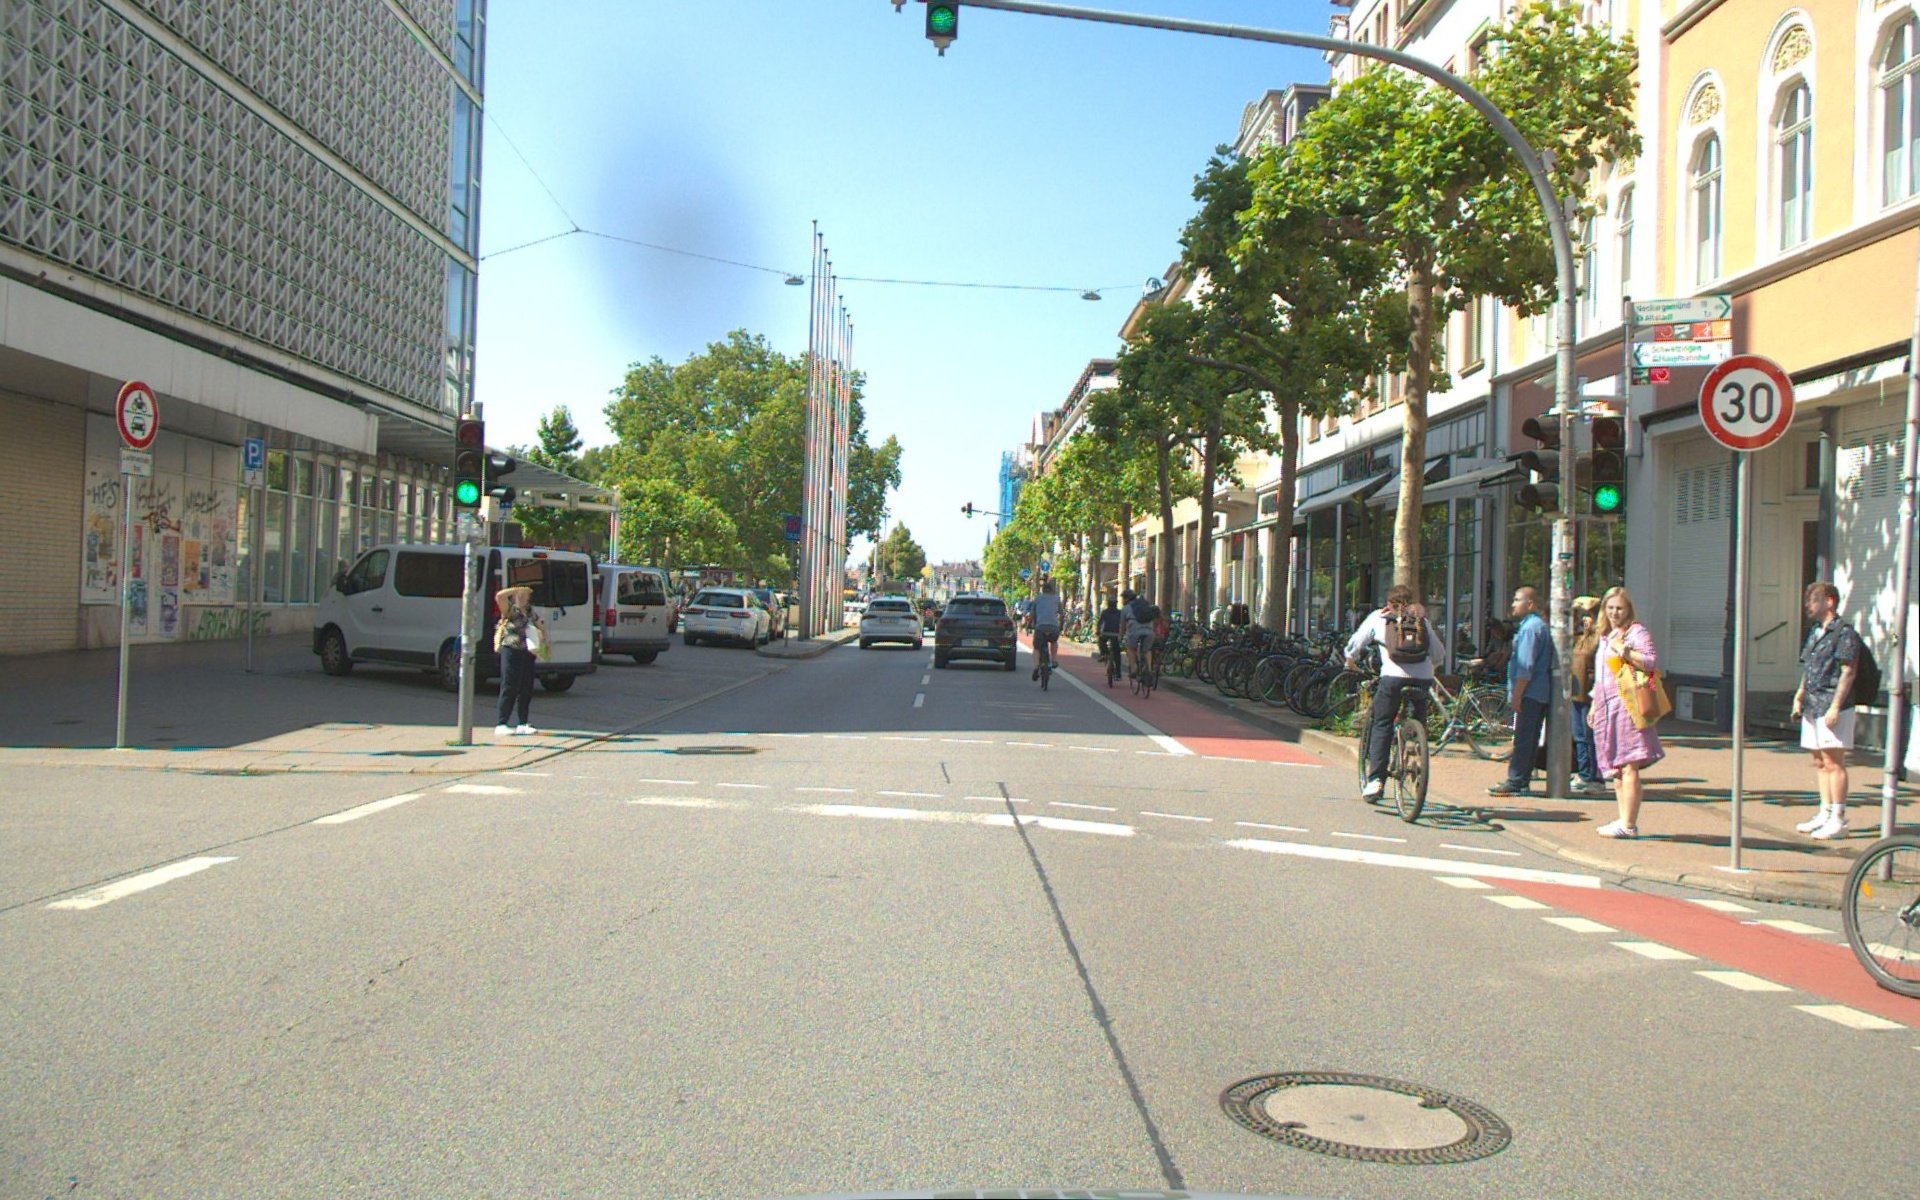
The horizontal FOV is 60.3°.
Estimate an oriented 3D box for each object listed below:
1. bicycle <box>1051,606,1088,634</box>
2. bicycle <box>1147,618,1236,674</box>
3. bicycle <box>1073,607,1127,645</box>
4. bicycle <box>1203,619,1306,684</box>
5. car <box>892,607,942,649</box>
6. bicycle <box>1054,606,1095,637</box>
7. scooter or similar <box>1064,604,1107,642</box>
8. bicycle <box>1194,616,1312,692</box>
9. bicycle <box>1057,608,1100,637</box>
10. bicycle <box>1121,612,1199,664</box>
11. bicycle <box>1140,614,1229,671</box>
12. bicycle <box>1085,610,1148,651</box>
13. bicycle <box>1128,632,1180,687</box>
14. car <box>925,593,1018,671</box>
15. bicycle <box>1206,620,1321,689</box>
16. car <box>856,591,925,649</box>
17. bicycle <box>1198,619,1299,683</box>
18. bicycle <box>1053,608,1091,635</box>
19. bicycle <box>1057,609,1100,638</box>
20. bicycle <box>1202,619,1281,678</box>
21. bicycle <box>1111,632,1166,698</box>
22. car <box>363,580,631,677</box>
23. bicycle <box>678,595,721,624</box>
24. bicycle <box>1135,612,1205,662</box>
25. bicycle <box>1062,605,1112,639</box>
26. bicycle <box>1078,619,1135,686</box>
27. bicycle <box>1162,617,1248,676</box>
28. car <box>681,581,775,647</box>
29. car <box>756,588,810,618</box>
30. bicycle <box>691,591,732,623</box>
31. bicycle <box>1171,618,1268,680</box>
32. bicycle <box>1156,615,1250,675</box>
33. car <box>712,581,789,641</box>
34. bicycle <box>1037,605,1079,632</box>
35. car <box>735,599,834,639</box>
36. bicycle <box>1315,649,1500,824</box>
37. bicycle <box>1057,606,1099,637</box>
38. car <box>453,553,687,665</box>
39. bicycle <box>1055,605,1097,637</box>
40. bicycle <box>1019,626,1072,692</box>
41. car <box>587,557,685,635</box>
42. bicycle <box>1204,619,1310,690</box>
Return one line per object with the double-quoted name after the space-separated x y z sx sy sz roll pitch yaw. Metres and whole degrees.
4.942 0.907 74.753 1.615 1.222 0.474 2 0 2 "bicycle"
5.095 1.011 36.372 1.807 1.112 0.563 3 -1 -11 "bicycle"
4.918 0.910 58.179 1.801 1.206 0.670 3 -1 4 "bicycle"
5.426 0.947 30.519 1.802 1.147 0.448 1 -1 2 "bicycle"
-1.610 1.032 62.566 1.808 1.474 3.999 1 0 -1 "car"
4.807 0.886 69.530 1.692 1.238 0.477 2 0 2 "bicycle"
4.571 0.837 60.363 1.443 1.296 0.670 3 -1 11 "scooter or similar"
4.873 0.888 27.571 1.802 1.146 0.680 3 0 2 "bicycle"
4.870 0.933 68.025 1.692 1.128 0.402 2 0 2 "bicycle"
5.001 0.955 41.325 1.806 1.146 0.496 4 1 -9 "bicycle"
4.996 0.946 36.871 1.807 1.146 0.631 4 -1 -11 "bicycle"
4.769 0.932 50.414 1.801 1.146 0.498 3 -1 11 "bicycle"
3.567 1.086 30.509 0.588 0.942 2.086 0 0 -4 "bicycle"
0.199 0.656 36.117 1.809 1.587 3.998 1 0 -3 "car"
5.325 0.953 29.003 1.943 1.147 0.762 1 -1 12 "bicycle"
-1.962 0.547 47.558 1.808 1.587 4.000 1 0 0 "car"
5.404 0.948 30.978 1.802 1.147 0.448 1 -1 2 "bicycle"
4.956 0.959 73.230 1.615 1.114 0.607 2 0 2 "bicycle"
4.901 0.952 68.444 1.692 1.128 0.477 2 0 2 "bicycle"
5.673 0.985 33.259 1.827 1.147 0.442 2 -2 -38 "bicycle"
2.942 1.057 27.422 0.617 0.997 2.088 2 0 -1 "bicycle"
-7.846 0.469 27.942 4.207 1.309 1.966 4 0 31 "car"
-11.286 0.410 71.585 1.746 1.152 0.562 2 0 -4 "bicycle"
5.458 0.959 42.996 1.754 1.218 0.572 3 -1 -28 "bicycle"
4.996 0.863 65.279 1.891 1.270 0.736 2 0 2 "bicycle"
2.706 0.962 30.722 0.684 1.146 2.080 3 0 -4 "bicycle"
4.941 0.938 33.302 1.826 1.147 0.586 2 -2 -37 "bicycle"
-6.012 0.337 43.323 1.762 1.549 4.738 3 0 0 "car"
-12.428 0.229 116.444 1.821 1.989 4.761 2 -1 20 "car"
-11.174 0.315 74.379 1.746 1.331 0.662 2 0 -4 "bicycle"
5.064 0.950 32.274 1.804 1.147 0.447 1 -2 28 "bicycle"
5.238 0.969 35.633 1.808 1.146 0.763 4 -2 -14 "bicycle"
-6.160 0.311 49.118 1.725 1.628 4.708 2 0 -1 "car"
4.805 0.900 80.890 1.904 1.279 0.701 2 0 -20 "bicycle"
-7.413 0.773 70.248 1.854 1.568 4.857 3 1 26 "car"
3.381 0.994 12.709 0.684 1.146 2.080 3 0 -4 "bicycle"
4.985 0.898 70.022 1.692 1.238 0.477 2 0 2 "bicycle"
-7.532 0.141 31.803 4.358 1.943 2.002 2 1 36 "car"
4.819 0.873 68.805 1.692 1.238 0.477 2 0 2 "bicycle"
1.443 0.987 28.396 0.758 1.023 2.329 1 0 0 "bicycle"
-9.088 -0.107 46.759 1.795 2.049 4.685 2 0 0 "car"
5.333 0.981 29.716 1.801 1.146 0.530 3 -1 12 "bicycle"
